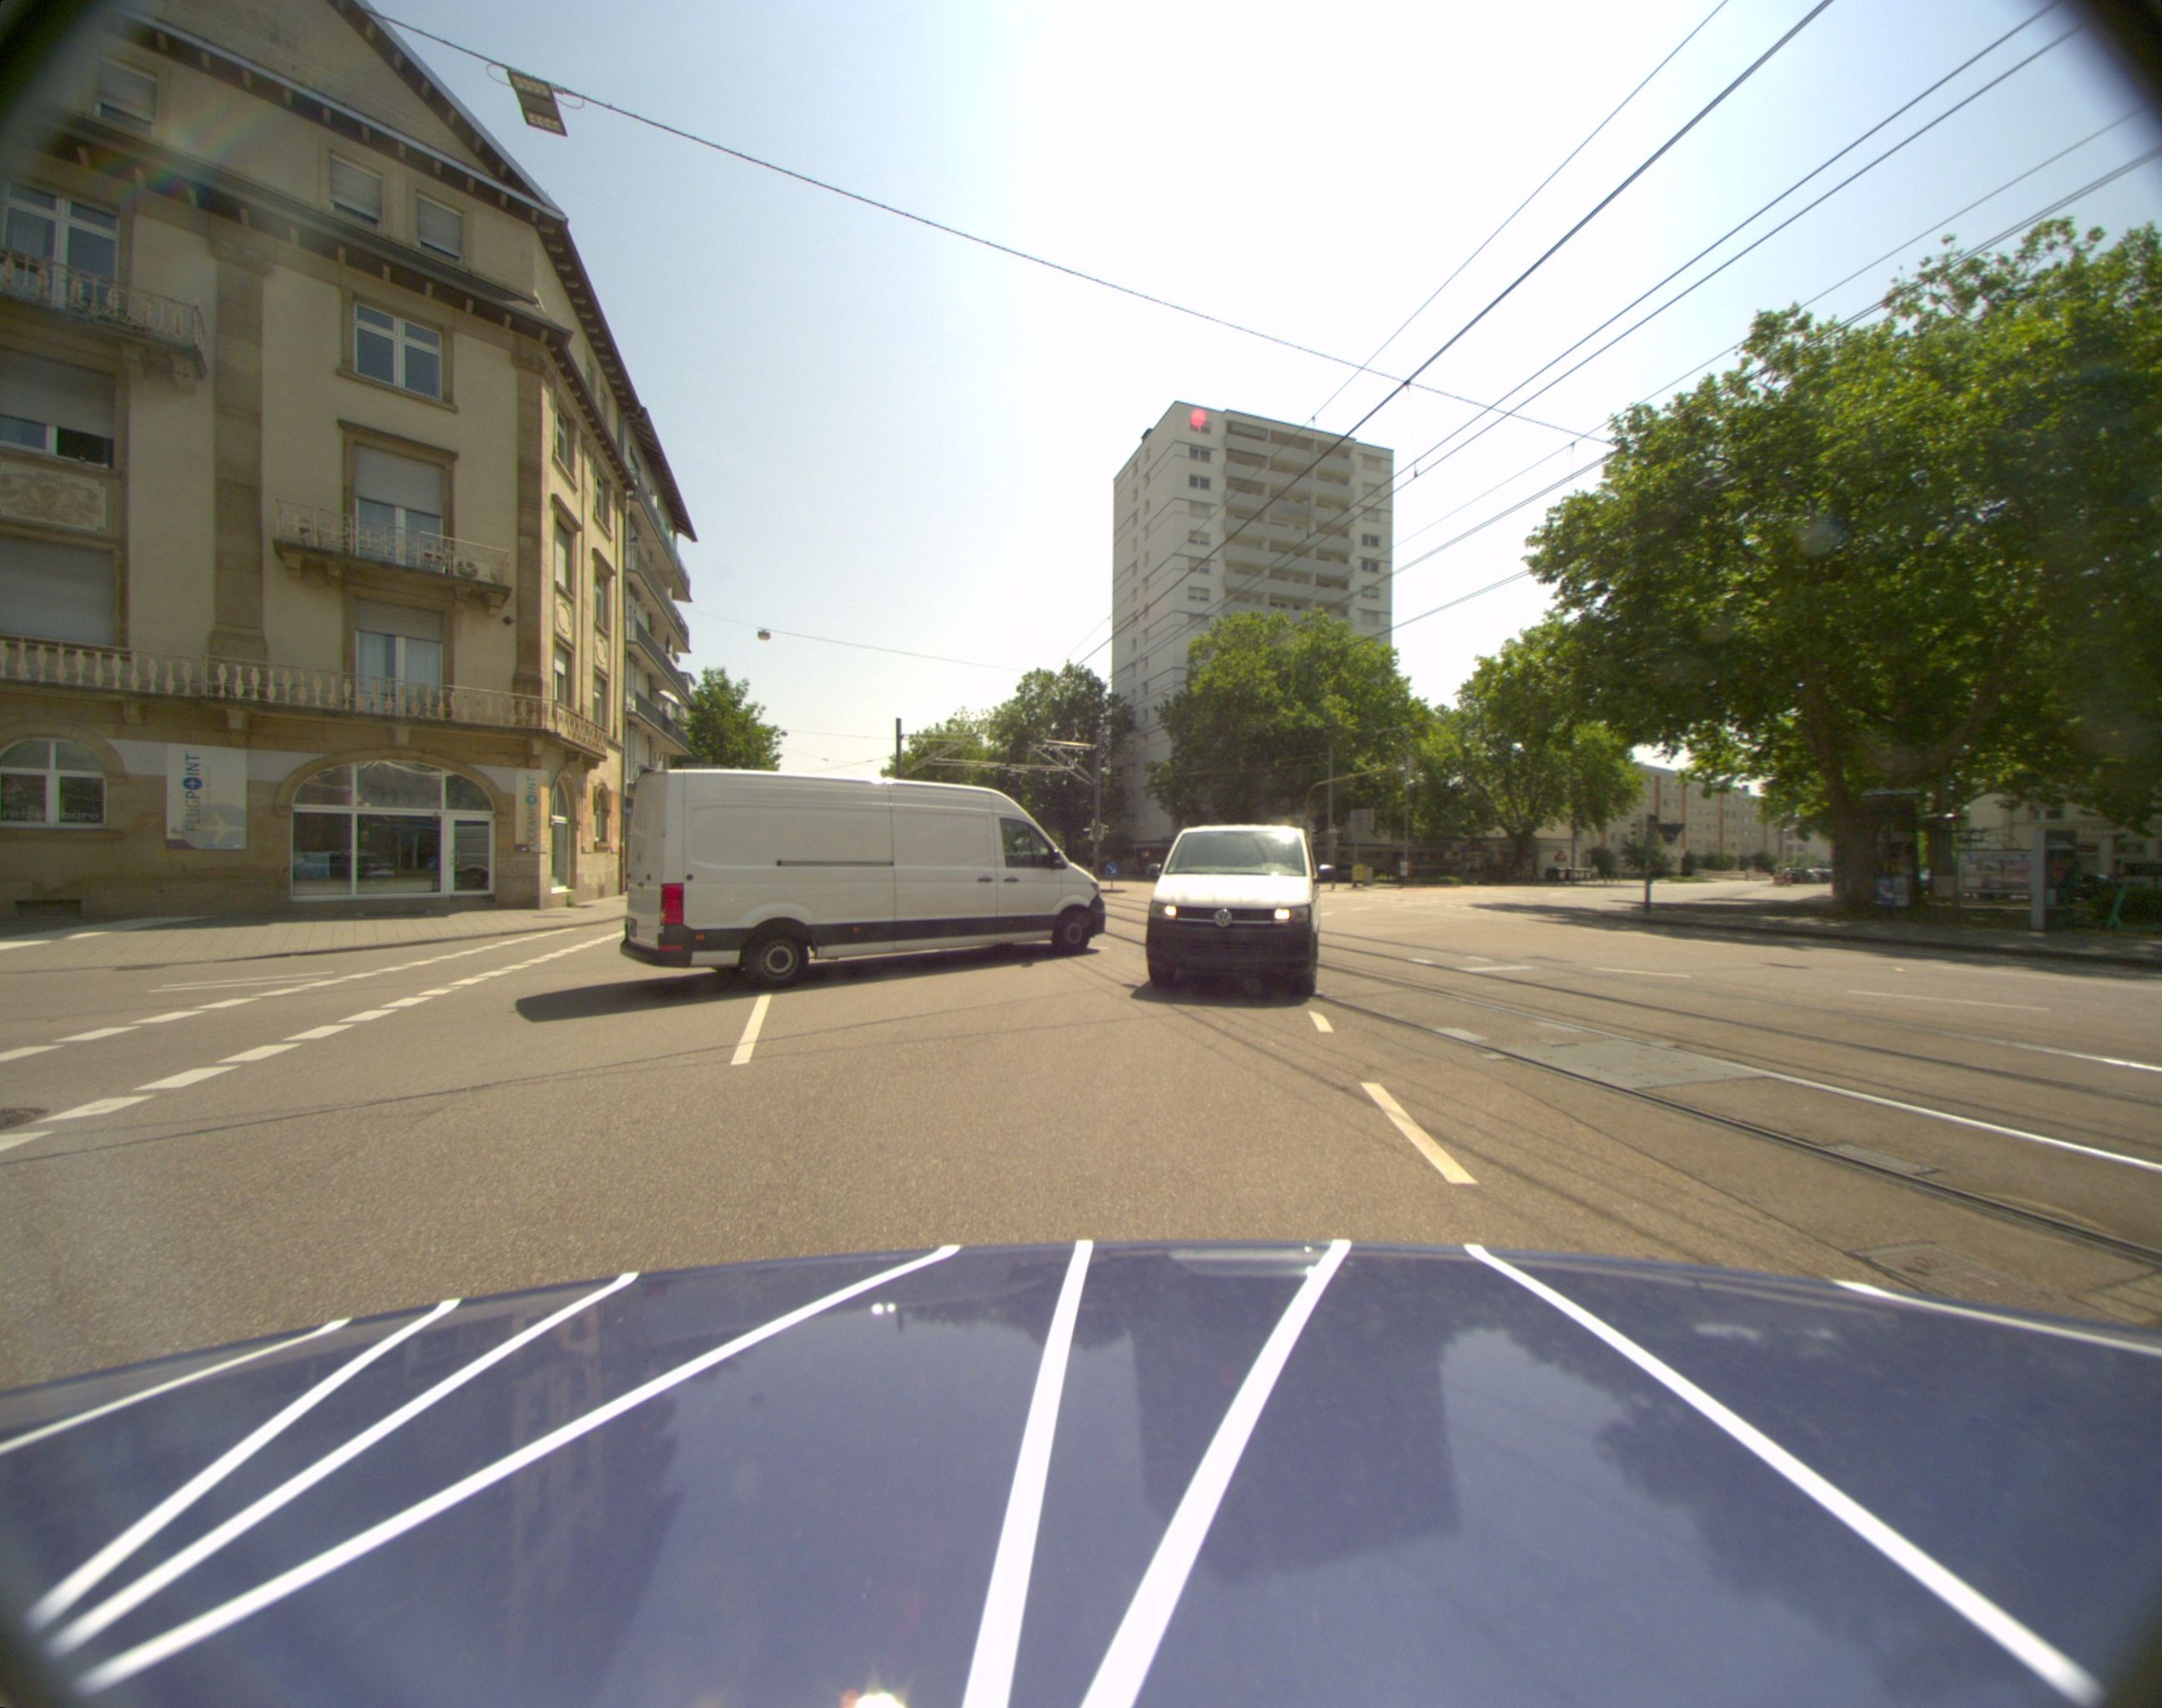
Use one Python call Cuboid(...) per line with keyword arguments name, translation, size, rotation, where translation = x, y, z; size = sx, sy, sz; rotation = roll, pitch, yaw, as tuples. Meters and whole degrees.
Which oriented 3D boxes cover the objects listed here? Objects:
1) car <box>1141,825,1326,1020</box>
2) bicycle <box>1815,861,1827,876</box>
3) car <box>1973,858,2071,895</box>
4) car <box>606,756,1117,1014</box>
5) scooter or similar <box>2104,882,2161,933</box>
Cuboid(name="car", translation=(2.181, 0.675, 10.203), size=(1.850, 1.942, 4.949), rotation=(0, 0, 15))
Cuboid(name="bicycle", translation=(75.745, 1.494, 77.769), size=(1.846, 1.546, 0.595), rotation=(-1, 1, -35))
Cuboid(name="car", translation=(53.760, 1.224, 43.431), size=(4.002, 2.002, 1.997), rotation=(0, 1, -14))
Cuboid(name="car", translation=(-2.619, 0.323, 10.693), size=(6.647, 2.622, 2.071), rotation=(0, 1, -41))
Cuboid(name="scooter or similar", translation=(24.444, 1.222, 17.541), size=(0.257, 1.114, 0.976), rotation=(0, 1, -6))
